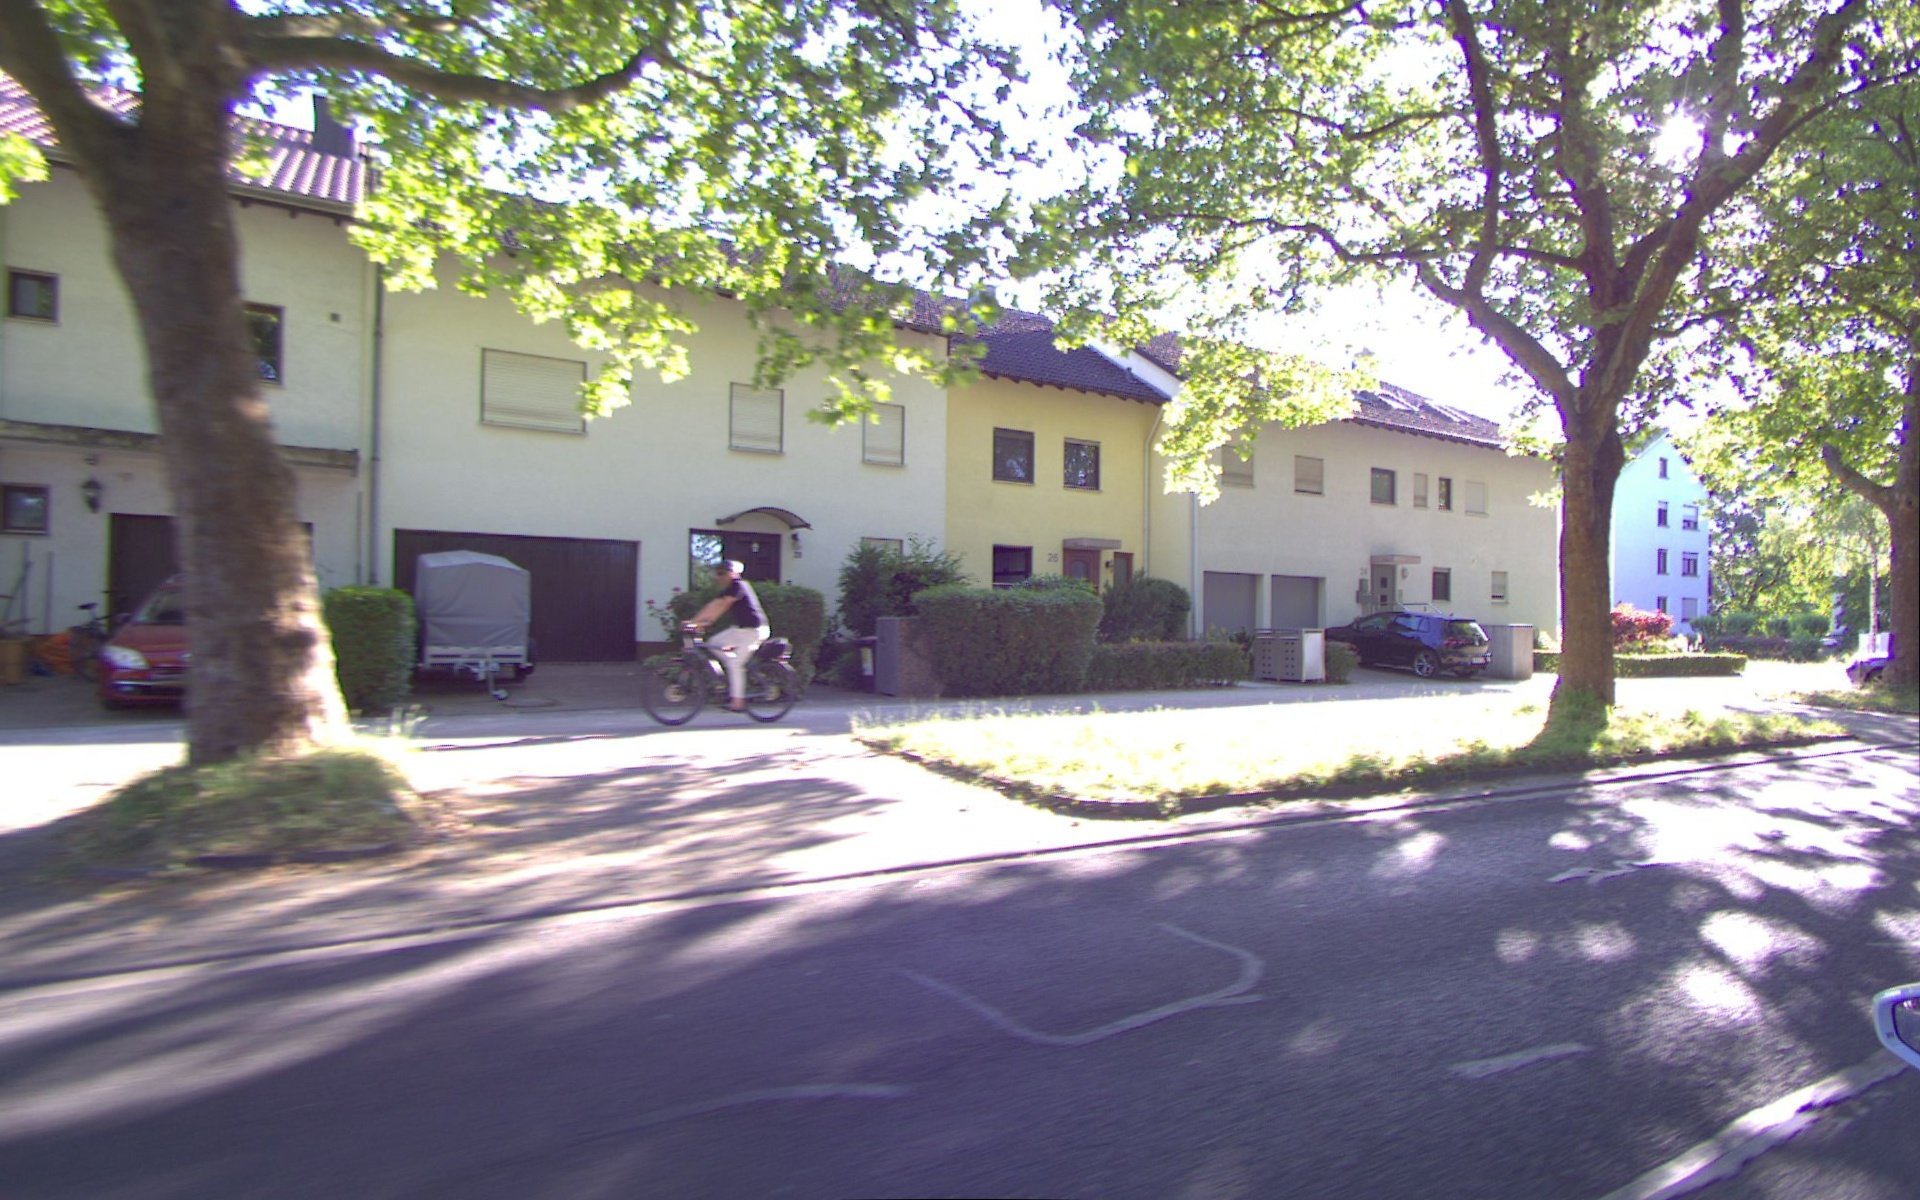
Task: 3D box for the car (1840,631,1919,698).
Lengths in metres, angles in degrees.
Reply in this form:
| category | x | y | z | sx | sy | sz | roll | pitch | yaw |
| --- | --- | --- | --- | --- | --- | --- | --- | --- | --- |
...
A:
| category | x | y | z | sx | sy | sz | roll | pitch | yaw |
| --- | --- | --- | --- | --- | --- | --- | --- | --- | --- |
| car | 21.142 | 1.411 | 20.959 | 1.768 | 1.334 | 3.808 | 2 | 1 | -29 |

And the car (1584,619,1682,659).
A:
| category | x | y | z | sx | sy | sz | roll | pitch | yaw |
| --- | --- | --- | --- | --- | --- | --- | --- | --- | --- |
| car | 28.425 | 1.641 | 42.407 | 3.955 | 1.595 | 1.983 | 2 | 0 | -31 |

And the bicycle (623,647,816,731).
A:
| category | x | y | z | sx | sy | sz | roll | pitch | yaw |
| --- | --- | --- | --- | --- | --- | --- | --- | --- | --- |
| bicycle | -2.756 | 1.007 | 11.660 | 2.130 | 0.892 | 0.467 | 2 | -1 | -30 |

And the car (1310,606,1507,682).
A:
| category | x | y | z | sx | sy | sz | roll | pitch | yaw |
| --- | --- | --- | --- | --- | --- | --- | --- | --- | --- |
| car | 10.660 | 1.007 | 24.143 | 1.878 | 1.484 | 3.969 | 2 | 2 | -29 |

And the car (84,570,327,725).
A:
| category | x | y | z | sx | sy | sz | roll | pitch | yaw |
| --- | --- | --- | --- | --- | --- | --- | --- | --- | --- |
| car | -9.480 | 0.484 | 12.978 | 1.976 | 1.497 | 3.968 | 1 | 3 | -29 |

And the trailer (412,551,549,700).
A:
| category | x | y | z | sx | sy | sz | roll | pitch | yaw |
| --- | --- | --- | --- | --- | --- | --- | --- | --- | --- |
| trailer | -7.521 | 0.284 | 15.612 | 1.624 | 1.952 | 3.435 | 0 | 4 | -31 |

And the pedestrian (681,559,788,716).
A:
| category | x | y | z | sx | sy | sz | roll | pitch | yaw |
| --- | --- | --- | --- | --- | --- | --- | --- | --- | --- |
| pedestrian | -2.618 | 0.426 | 11.670 | 1.053 | 1.739 | 0.614 | 1 | -1 | -30 |
